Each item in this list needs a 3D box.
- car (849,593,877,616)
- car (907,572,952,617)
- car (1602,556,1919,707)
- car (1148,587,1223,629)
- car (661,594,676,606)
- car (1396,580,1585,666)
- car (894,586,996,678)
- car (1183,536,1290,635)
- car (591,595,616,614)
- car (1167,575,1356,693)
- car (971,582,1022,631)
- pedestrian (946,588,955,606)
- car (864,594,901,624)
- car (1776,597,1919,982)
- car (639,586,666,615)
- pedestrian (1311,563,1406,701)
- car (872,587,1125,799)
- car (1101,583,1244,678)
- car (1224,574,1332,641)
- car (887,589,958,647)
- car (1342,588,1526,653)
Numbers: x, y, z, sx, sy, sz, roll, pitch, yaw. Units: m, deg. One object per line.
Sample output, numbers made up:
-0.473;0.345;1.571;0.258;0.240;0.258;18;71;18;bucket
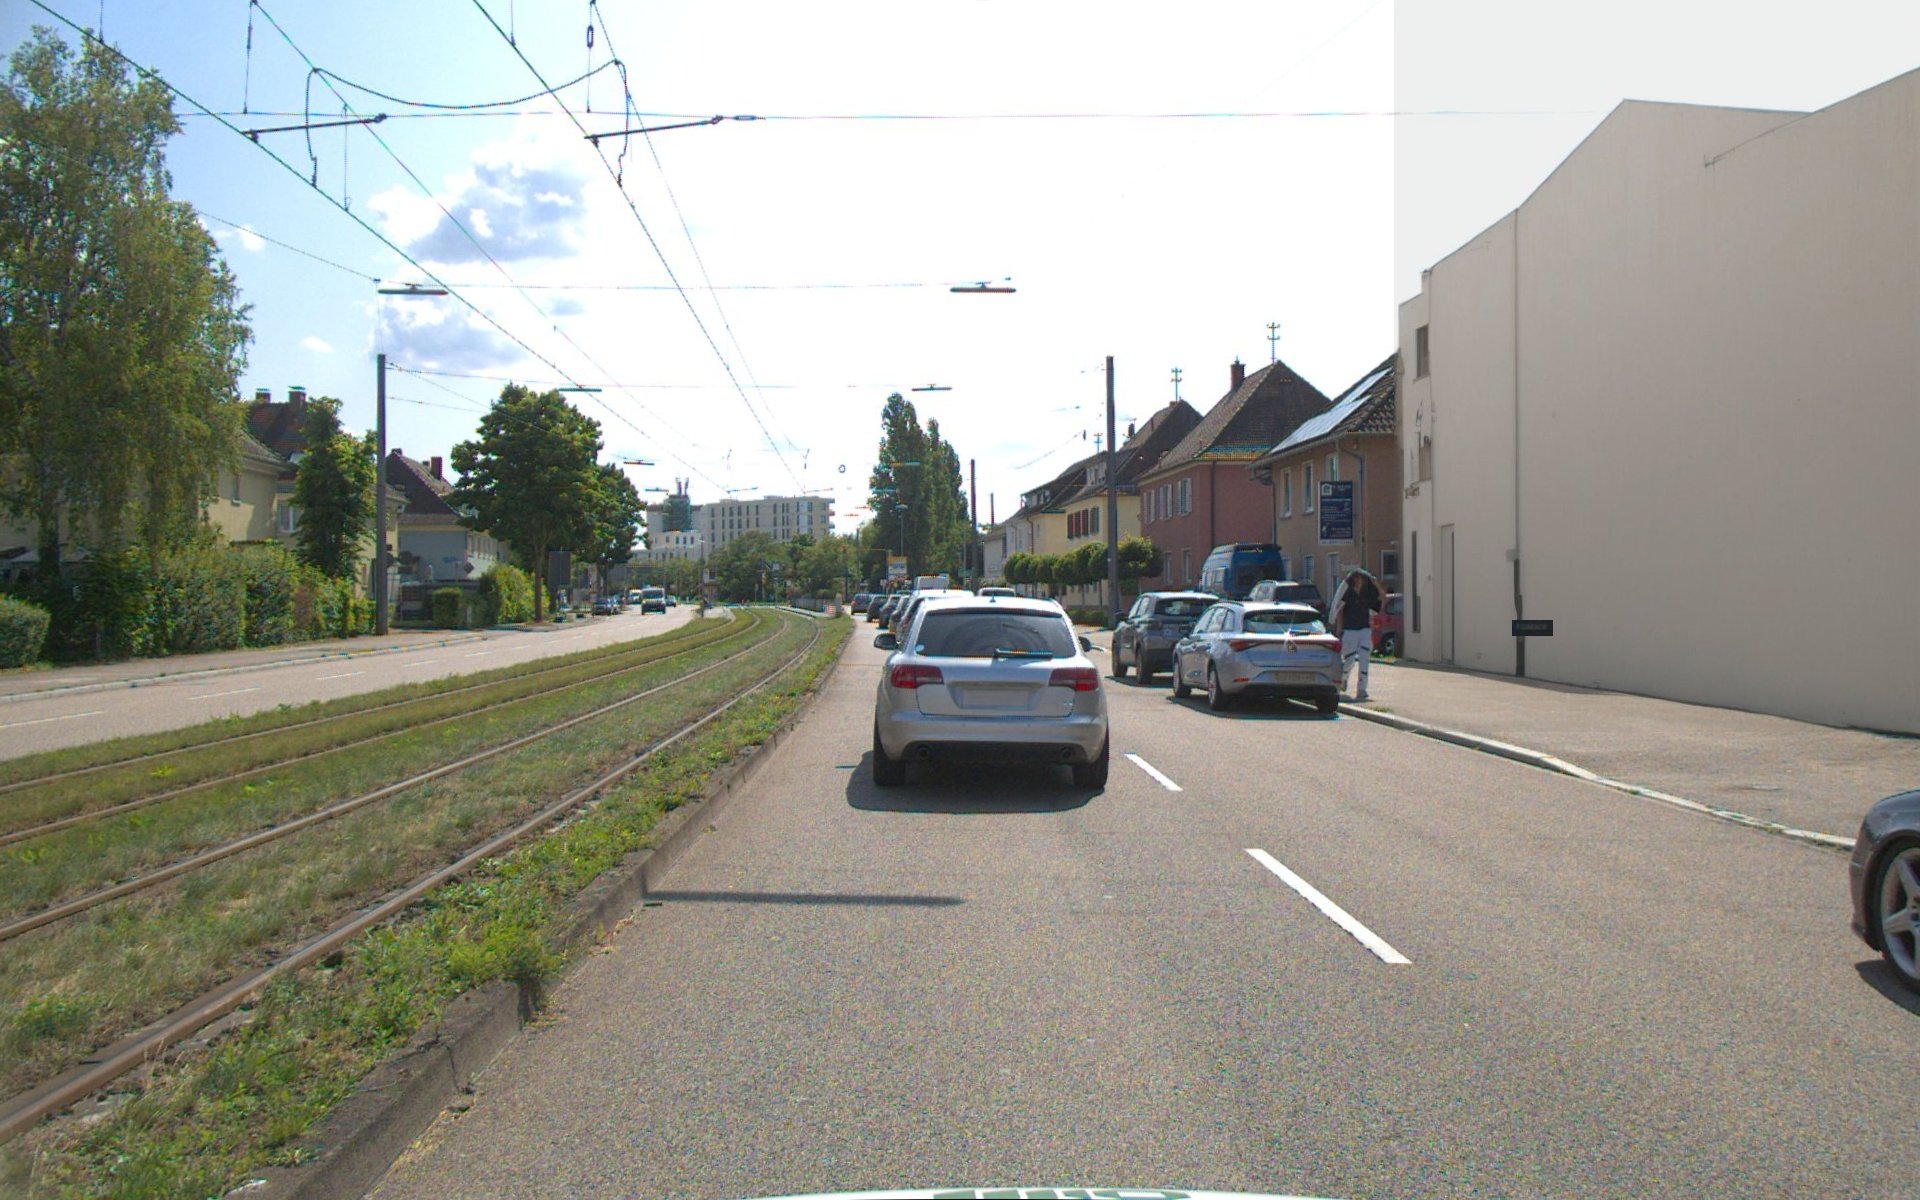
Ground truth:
-6.926;0.330;118.072;1.847;1.557;4.092;1;0;-2;car
-1.848;-0.319;97.819;2.003;2.602;5.221;0;0;-9;car
10.168;0.362;21.104;1.722;1.676;4.764;-1;0;-5;car
8.161;0.291;60.175;1.618;1.434;4.343;-1;0;-7;car
-38.741;0.027;219.975;1.863;1.568;3.718;1;0;-12;car
9.827;0.399;31.059;1.763;1.448;4.855;-1;0;-3;car
-0.349;0.566;31.631;1.751;1.604;4.092;2;0;-3;car
8.814;-0.420;53.312;2.108;2.981;6.240;1;0;-3;car
-30.769;0.371;142.919;1.752;1.612;3.925;0;0;-6;car
4.148;0.447;23.472;1.778;1.479;4.642;1;0;-1;car
1.372;0.240;62.757;1.846;1.761;4.095;-1;0;1;car
-0.959;-0.298;165.705;0.708;1.814;0.702;-3;0;-6;pedestrian
-4.105;0.487;87.901;1.847;1.557;4.092;1;0;-2;car
4.647;0.759;4.912;1.861;1.469;5.056;1;0;-1;car
-26.274;0.074;141.115;2.157;2.413;5.317;-2;0;-12;car
5.872;0.467;24.424;1.090;1.980;1.091;0;-1;-2;pedestrian
0.305;0.665;14.214;1.816;1.518;4.536;0;0;1;car
3.815;0.538;30.377;1.771;1.587;4.249;1;0;-4;car
8.960;0.182;47.063;1.800;1.741;4.860;-2;1;-4;car
-1.044;0.470;45.826;1.847;1.491;4.093;-1;0;-2;car
10.536;0.457;36.889;3.578;1.404;1.725;0;-1;-5;car
